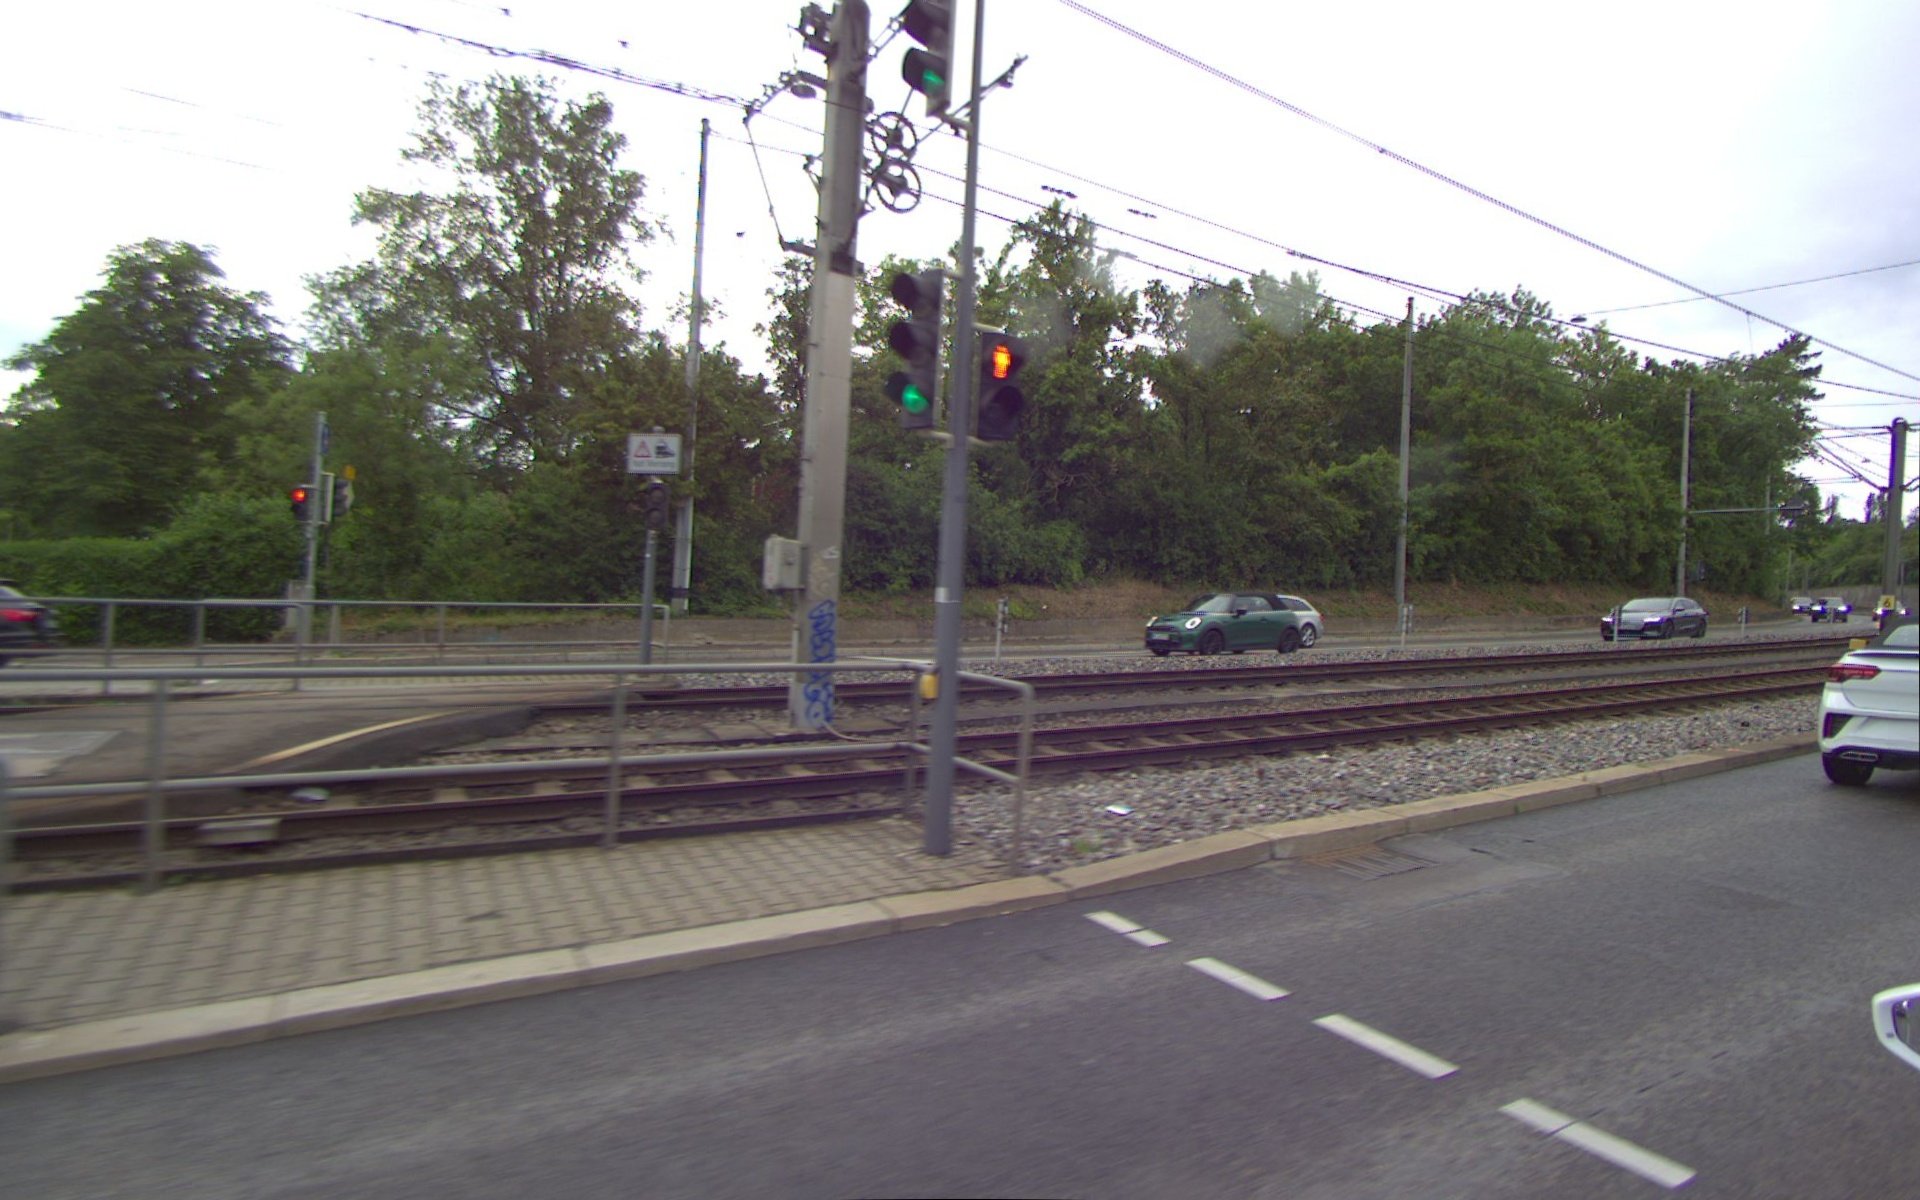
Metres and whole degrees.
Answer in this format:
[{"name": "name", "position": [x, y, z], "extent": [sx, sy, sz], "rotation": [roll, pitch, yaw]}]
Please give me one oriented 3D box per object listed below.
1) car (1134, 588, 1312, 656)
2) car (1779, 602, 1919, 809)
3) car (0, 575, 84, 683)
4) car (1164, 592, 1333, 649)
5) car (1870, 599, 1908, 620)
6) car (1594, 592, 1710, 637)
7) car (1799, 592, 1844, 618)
[{"name": "car", "position": [5.887, 0.505, 22.384], "extent": [3.850, 1.403, 1.624], "rotation": [1, -2, -31]}, {"name": "car", "position": [9.180, 0.798, 8.737], "extent": [4.489, 1.544, 1.861], "rotation": [0, 1, -32]}, {"name": "car", "position": [-14.972, 0.347, 13.737], "extent": [4.226, 1.478, 1.707], "rotation": [2, 0, -31]}, {"name": "car", "position": [7.778, 0.528, 26.916], "extent": [4.657, 1.398, 1.808], "rotation": [0, 0, -34]}, {"name": "car", "position": [66.534, 0.649, 72.001], "extent": [1.685, 1.434, 4.014], "rotation": [2, 1, 39]}, {"name": "car", "position": [23.741, 0.477, 34.390], "extent": [4.809, 1.458, 1.848], "rotation": [0, -1, -37]}, {"name": "car", "position": [59.881, 0.331, 69.872], "extent": [1.759, 1.692, 4.726], "rotation": [1, 1, 34]}]
